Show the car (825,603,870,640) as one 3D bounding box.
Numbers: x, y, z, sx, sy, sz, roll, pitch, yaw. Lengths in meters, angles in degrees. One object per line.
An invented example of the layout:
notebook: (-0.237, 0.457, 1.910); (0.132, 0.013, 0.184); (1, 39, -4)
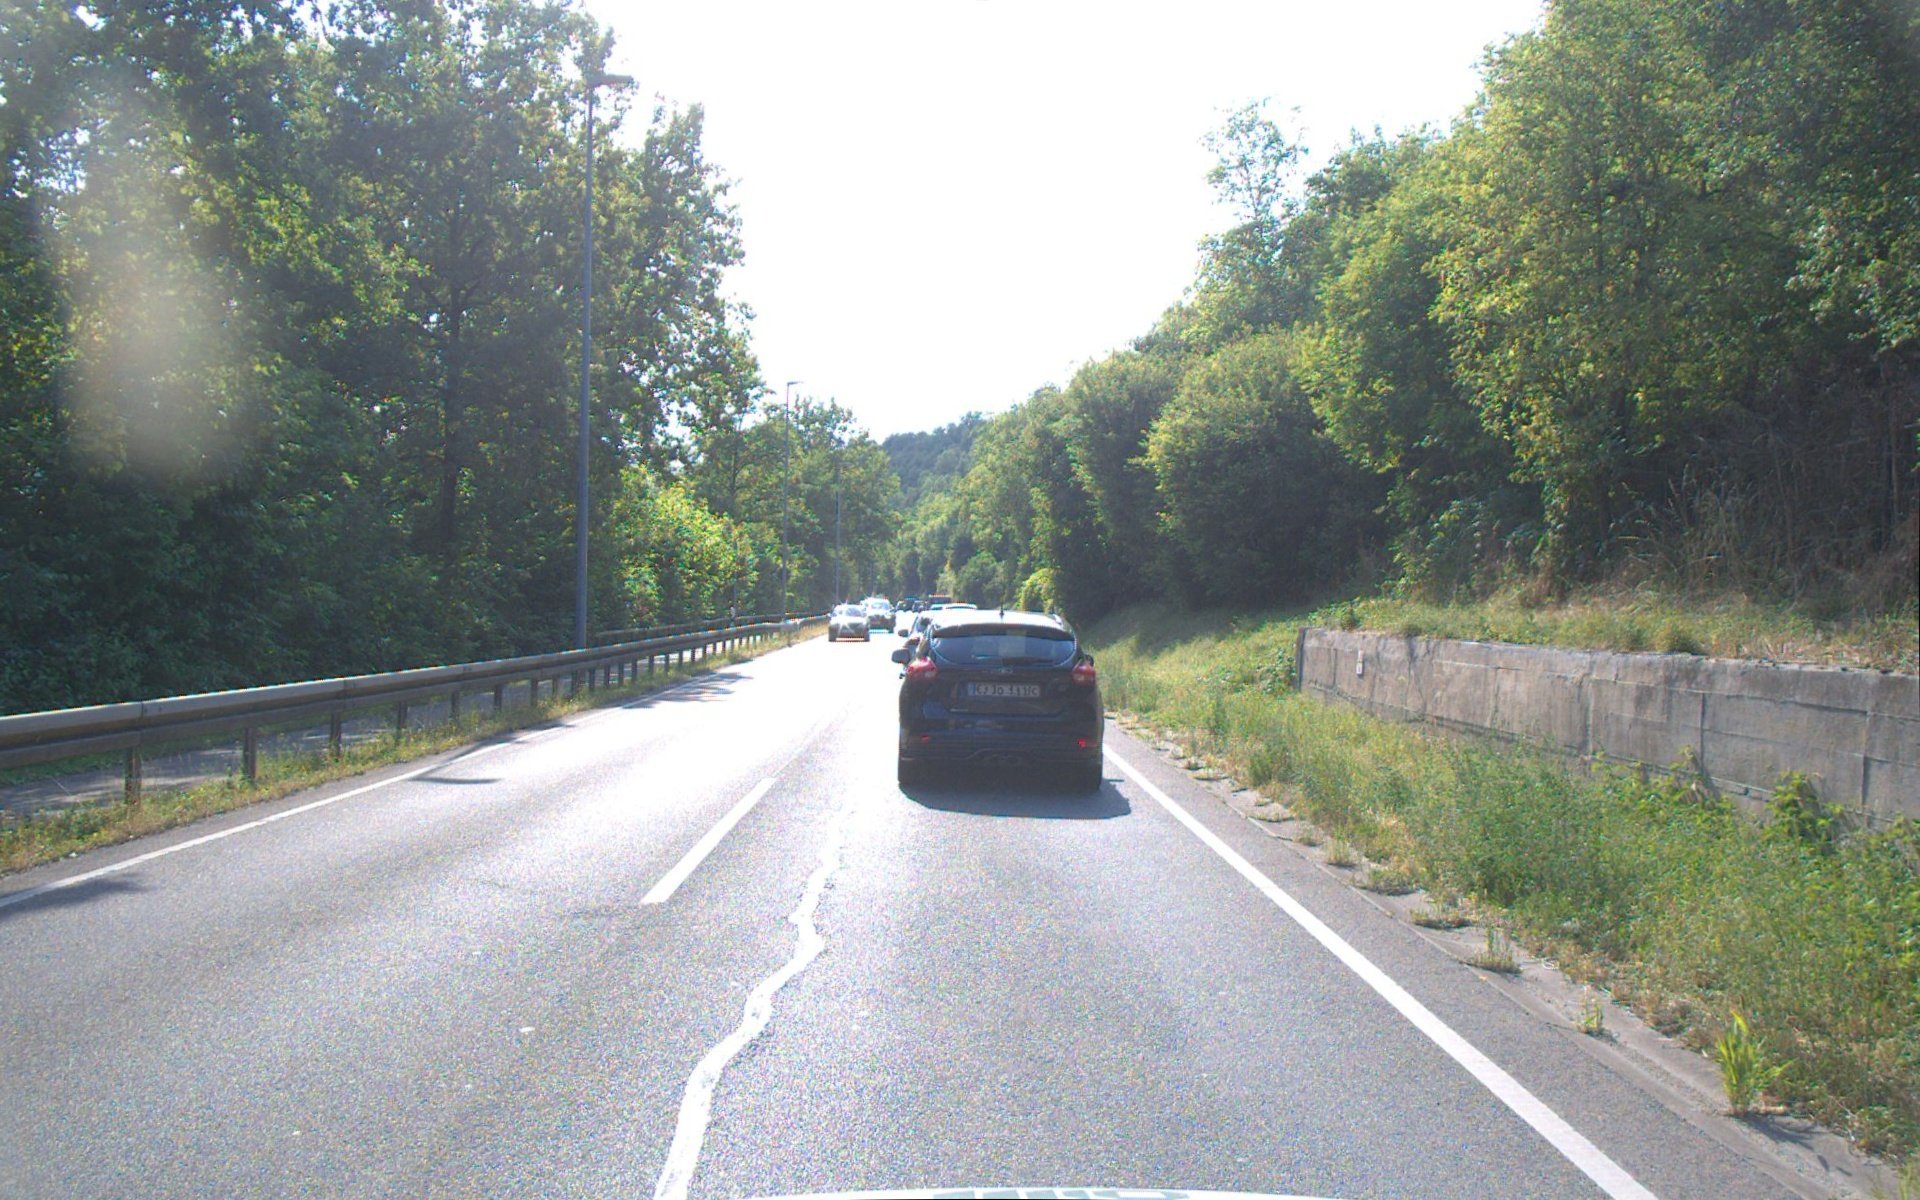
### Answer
car: (-4.605, 0.869, 68.175); (1.647, 1.467, 3.999); (0, 0, -1)

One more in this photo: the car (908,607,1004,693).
car: (-0.051, 0.858, 30.103); (1.627, 1.443, 4.000); (0, 0, 1)

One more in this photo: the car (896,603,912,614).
car: (-8.292, 1.281, 243.457); (1.956, 1.545, 3.993); (0, 0, -8)

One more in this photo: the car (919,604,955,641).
car: (-1.022, 0.981, 73.782); (1.597, 1.624, 3.999); (0, 0, -1)

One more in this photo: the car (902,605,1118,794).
car: (0.378, 0.807, 15.221); (1.704, 1.482, 3.999); (1, 0, -1)

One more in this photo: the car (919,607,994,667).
car: (-0.108, 0.882, 41.081); (1.768, 1.416, 3.999); (0, 0, -1)

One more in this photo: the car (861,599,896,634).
car: (-4.180, 0.829, 84.904); (1.712, 1.747, 4.219); (0, 0, -2)

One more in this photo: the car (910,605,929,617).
car: (-5.207, 1.379, 209.968); (1.956, 1.545, 3.993); (0, 0, -8)

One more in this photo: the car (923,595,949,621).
car: (-1.741, 0.574, 118.080); (1.825, 1.812, 3.999); (0, 0, -1)

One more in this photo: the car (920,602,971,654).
car: (-0.480, 0.871, 53.768); (1.597, 1.624, 3.999); (0, 0, -1)
